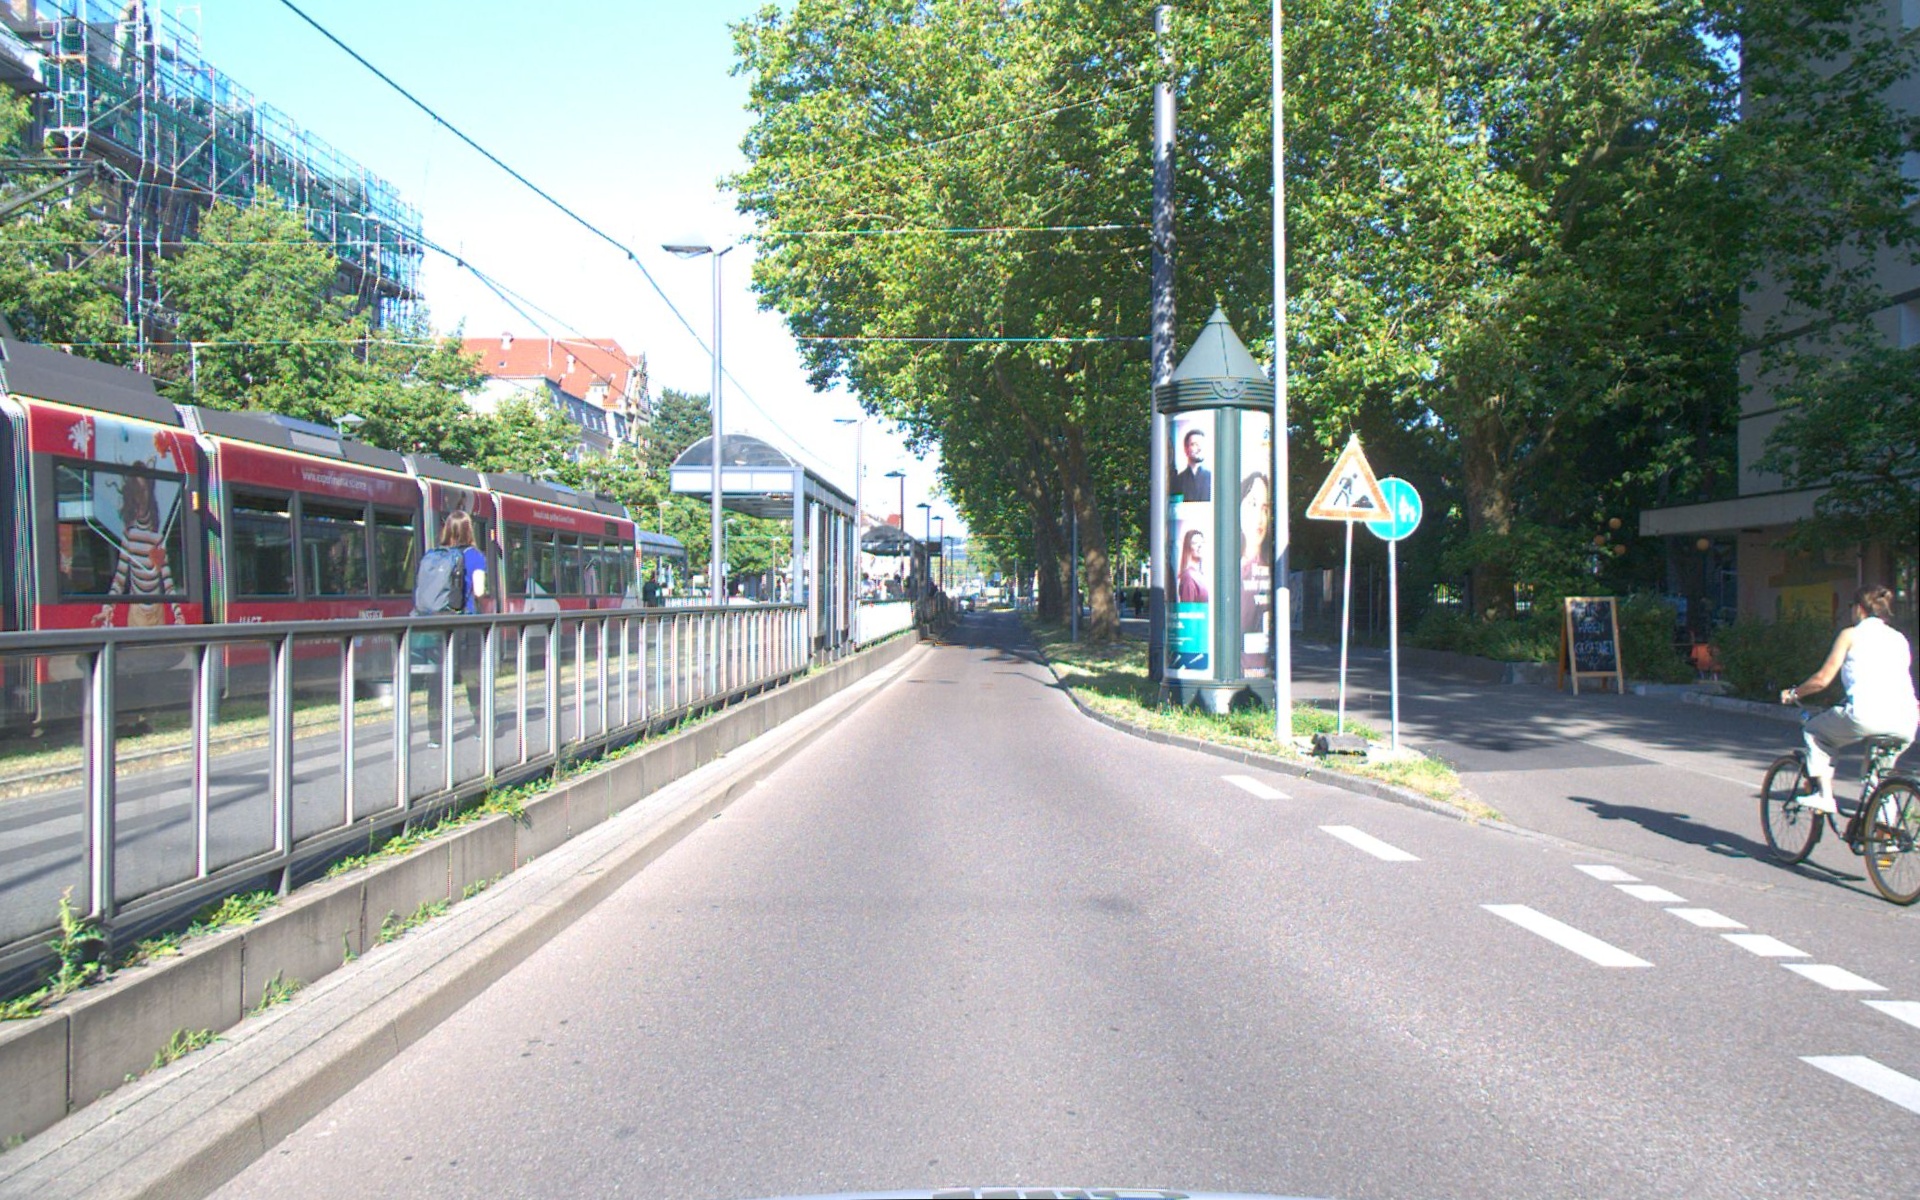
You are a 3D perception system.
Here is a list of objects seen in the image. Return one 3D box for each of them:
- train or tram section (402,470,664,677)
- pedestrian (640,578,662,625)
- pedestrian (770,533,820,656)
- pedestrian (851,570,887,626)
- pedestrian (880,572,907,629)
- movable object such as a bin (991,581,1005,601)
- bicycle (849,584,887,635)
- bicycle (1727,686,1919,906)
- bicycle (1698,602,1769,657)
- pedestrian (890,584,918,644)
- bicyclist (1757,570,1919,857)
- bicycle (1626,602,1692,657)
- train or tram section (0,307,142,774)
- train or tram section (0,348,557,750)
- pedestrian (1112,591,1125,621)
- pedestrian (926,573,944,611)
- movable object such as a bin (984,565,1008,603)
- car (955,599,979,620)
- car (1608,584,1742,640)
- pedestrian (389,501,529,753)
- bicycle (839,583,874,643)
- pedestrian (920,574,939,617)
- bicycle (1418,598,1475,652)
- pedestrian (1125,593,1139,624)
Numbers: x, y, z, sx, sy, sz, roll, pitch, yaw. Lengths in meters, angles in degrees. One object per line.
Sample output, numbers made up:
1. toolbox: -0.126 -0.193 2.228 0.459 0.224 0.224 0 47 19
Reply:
1. train or tram section: -8.617 -0.496 34.862 2.810 3.750 9.686 0 0 1
2. pedestrian: -11.559 0.047 61.910 0.665 1.719 0.654 2 0 -1
3. pedestrian: -2.646 -0.087 26.638 0.655 1.935 0.824 2 0 0
4. pedestrian: -2.901 -0.058 52.682 0.899 1.752 0.624 2 0 -33
5. pedestrian: -1.877 0.012 46.632 0.664 1.589 0.851 2 0 1
6. movable object such as a bin: 5.912 -1.375 256.808 1.928 3.065 4.796 -3 0 0
7. bicycle: -2.184 0.227 39.343 0.722 1.153 2.031 2 0 1
8. bicycle: 5.091 1.064 9.469 0.590 1.044 1.766 0 0 0
9. bicycle: 17.842 0.660 38.198 0.773 1.198 1.820 2 0 1
10. pedestrian: -1.695 0.417 49.993 0.749 1.789 0.695 2 0 1
11. bicyclist: 5.086 0.624 9.518 0.590 1.578 0.860 0 0 0
12. bicycle: 16.206 0.673 38.392 0.773 1.198 1.820 2 0 1
13. train or tram section: -9.204 -0.463 8.175 2.810 3.740 14.563 0 0 1
14. train or tram section: -8.892 -0.490 22.751 2.810 3.750 14.563 0 0 1
15. pedestrian: 8.896 0.341 92.693 0.614 1.685 0.740 -1 0 1
16. pedestrian: -1.131 -0.359 74.377 0.741 1.719 0.678 2 0 1
17. movable object such as a bin: 5.072 -2.189 234.657 3.024 5.177 8.892 -3 0 0
18. car: 0.598 0.834 143.332 1.952 1.713 4.001 2 0 1
19. car: 20.519 0.333 47.649 1.954 1.478 3.998 2 0 -2
20. pedestrian: -3.424 0.177 11.377 0.616 1.638 0.982 2 0 -1
21. bicycle: -2.073 0.249 33.366 0.502 1.153 2.104 2 0 1
22. pedestrian: -1.245 -0.176 67.350 0.665 1.719 0.895 2 0 1
23. bicycle: 11.300 0.572 38.457 0.773 1.198 1.820 2 0 1
24. pedestrian: 9.635 0.468 92.652 0.636 1.685 0.783 -1 0 1
